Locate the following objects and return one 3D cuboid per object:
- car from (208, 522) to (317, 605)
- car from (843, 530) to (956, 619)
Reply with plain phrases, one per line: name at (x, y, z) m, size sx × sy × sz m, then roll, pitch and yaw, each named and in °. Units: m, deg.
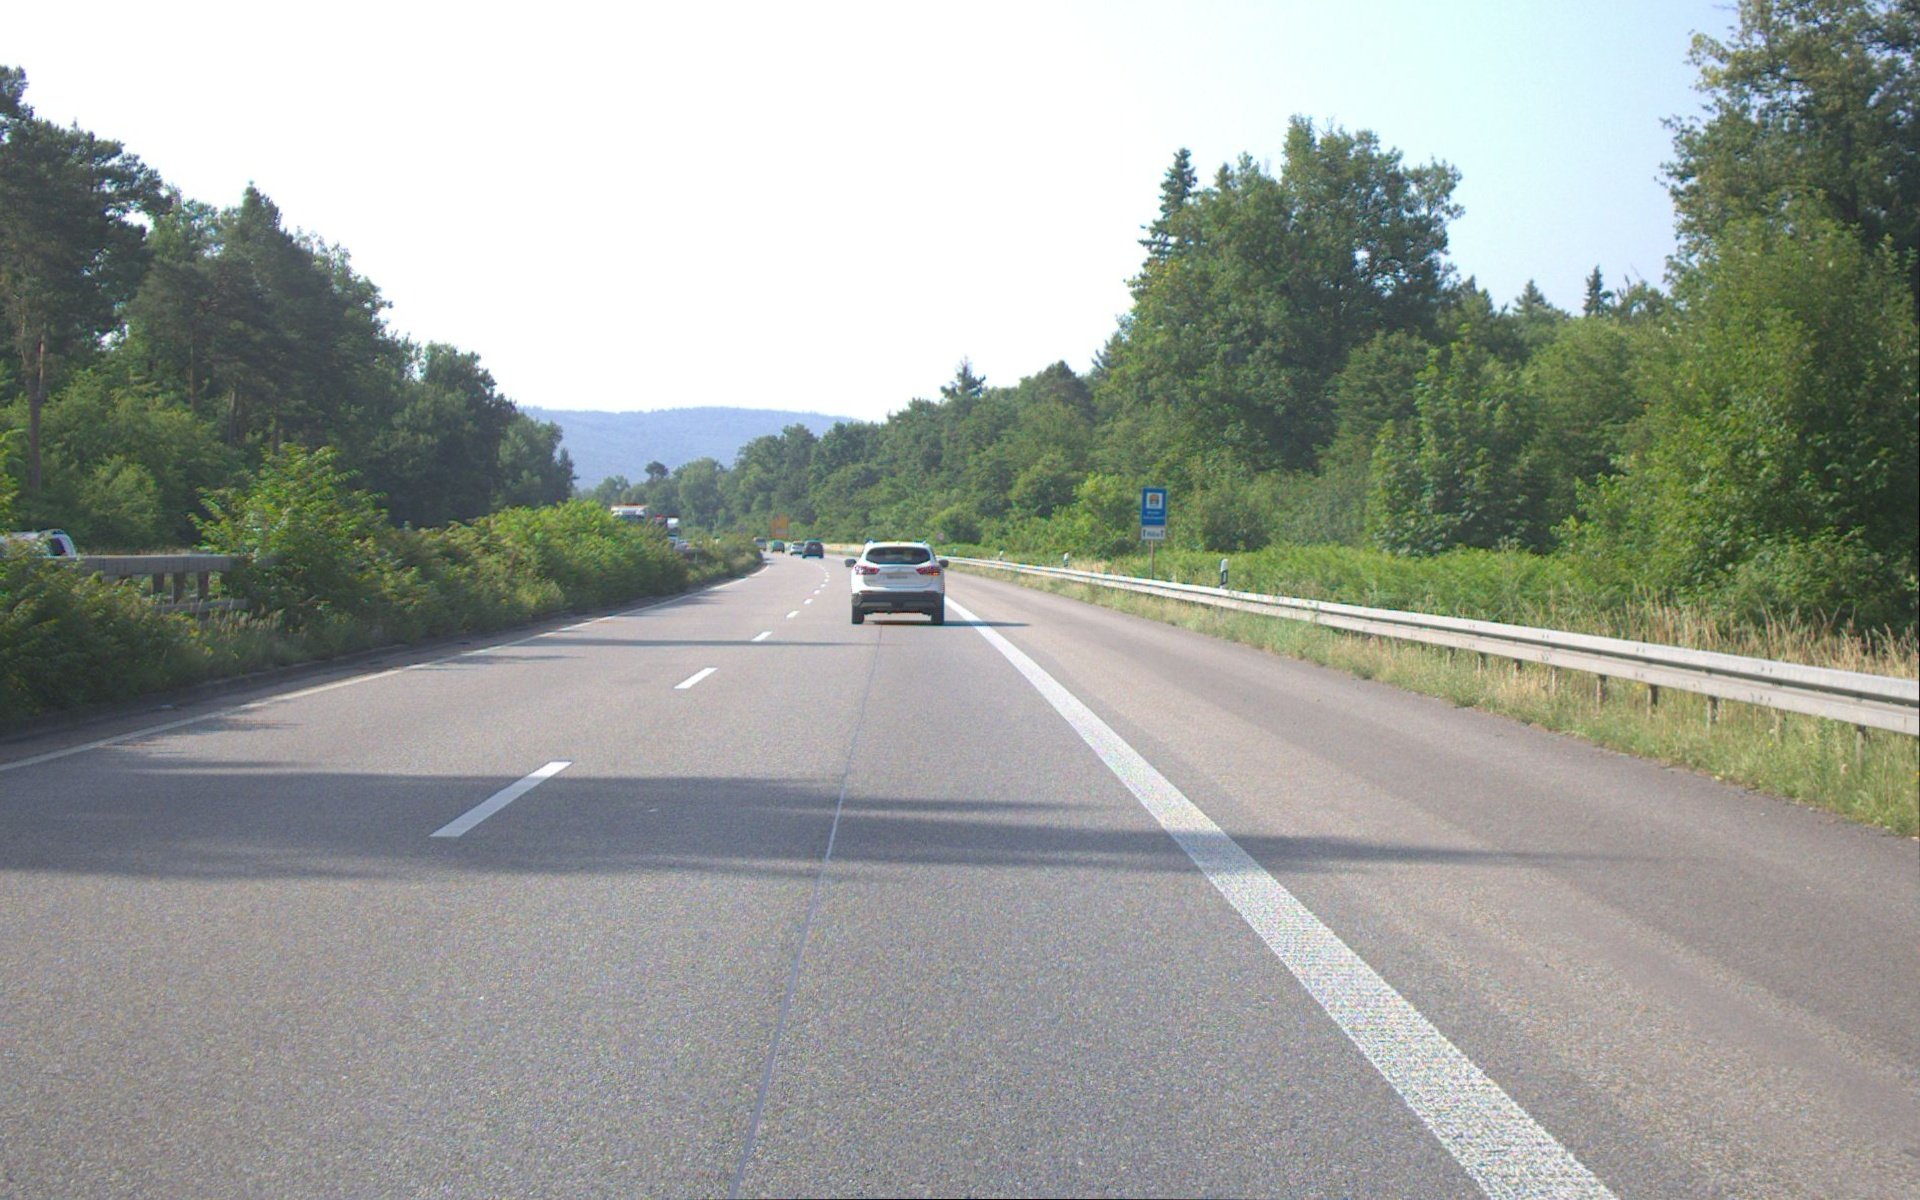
car at (-17.409, -0.917, 85.981) m, size 1.815 × 2.007 × 4.494 m, roll 1°, pitch 1°, yaw -1°
car at (-1.204, -0.524, 66.805) m, size 1.873 × 1.581 × 4.001 m, roll 2°, pitch 1°, yaw -5°
